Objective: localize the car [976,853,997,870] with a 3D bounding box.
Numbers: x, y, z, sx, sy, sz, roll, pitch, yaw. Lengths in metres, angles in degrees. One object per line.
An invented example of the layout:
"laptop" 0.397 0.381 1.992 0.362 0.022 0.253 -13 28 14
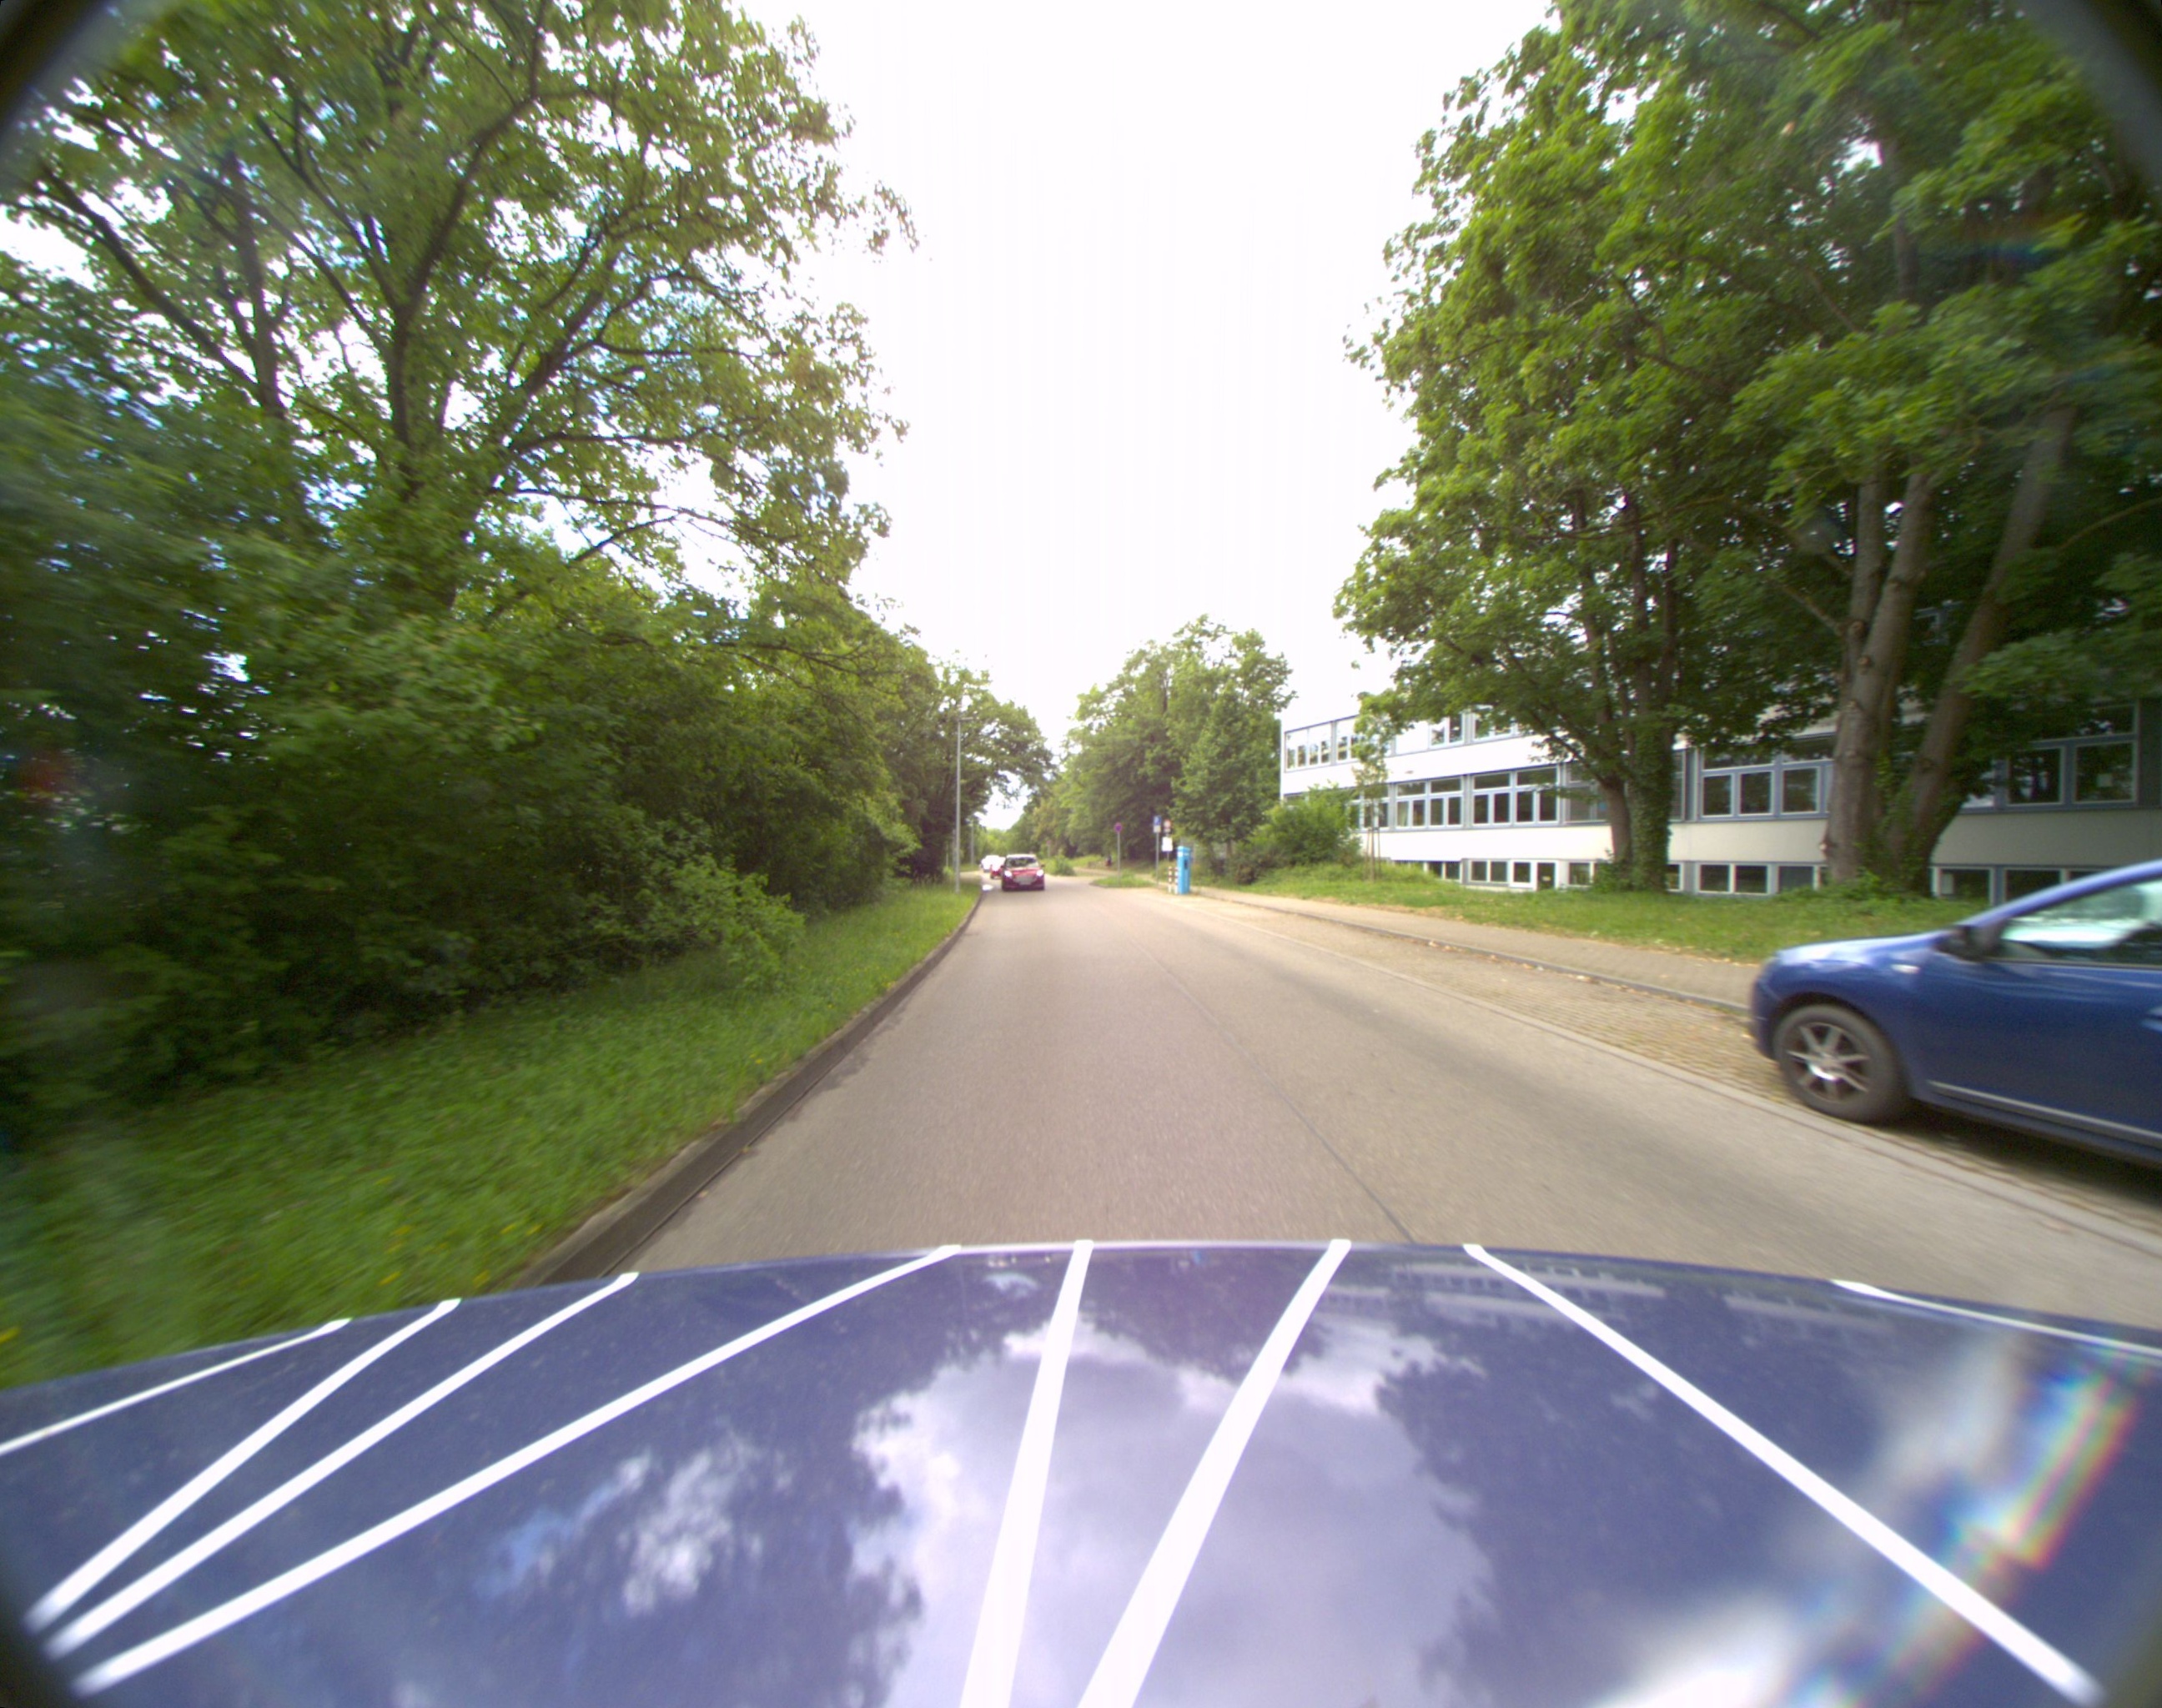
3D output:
"car" -9.330 0.749 74.481 1.922 1.587 3.895 0 0 -9

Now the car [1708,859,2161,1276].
"car" 4.821 0.795 2.545 1.684 1.503 4.430 -1 0 -2

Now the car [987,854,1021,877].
"car" -5.498 0.780 53.725 2.000 1.564 3.996 0 0 -11

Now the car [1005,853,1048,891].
"car" -2.587 0.810 35.787 1.862 1.608 4.474 -2 0 -5

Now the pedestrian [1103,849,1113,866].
"pedestrian" 2.615 0.324 73.829 0.762 1.653 0.808 0 0 -10
